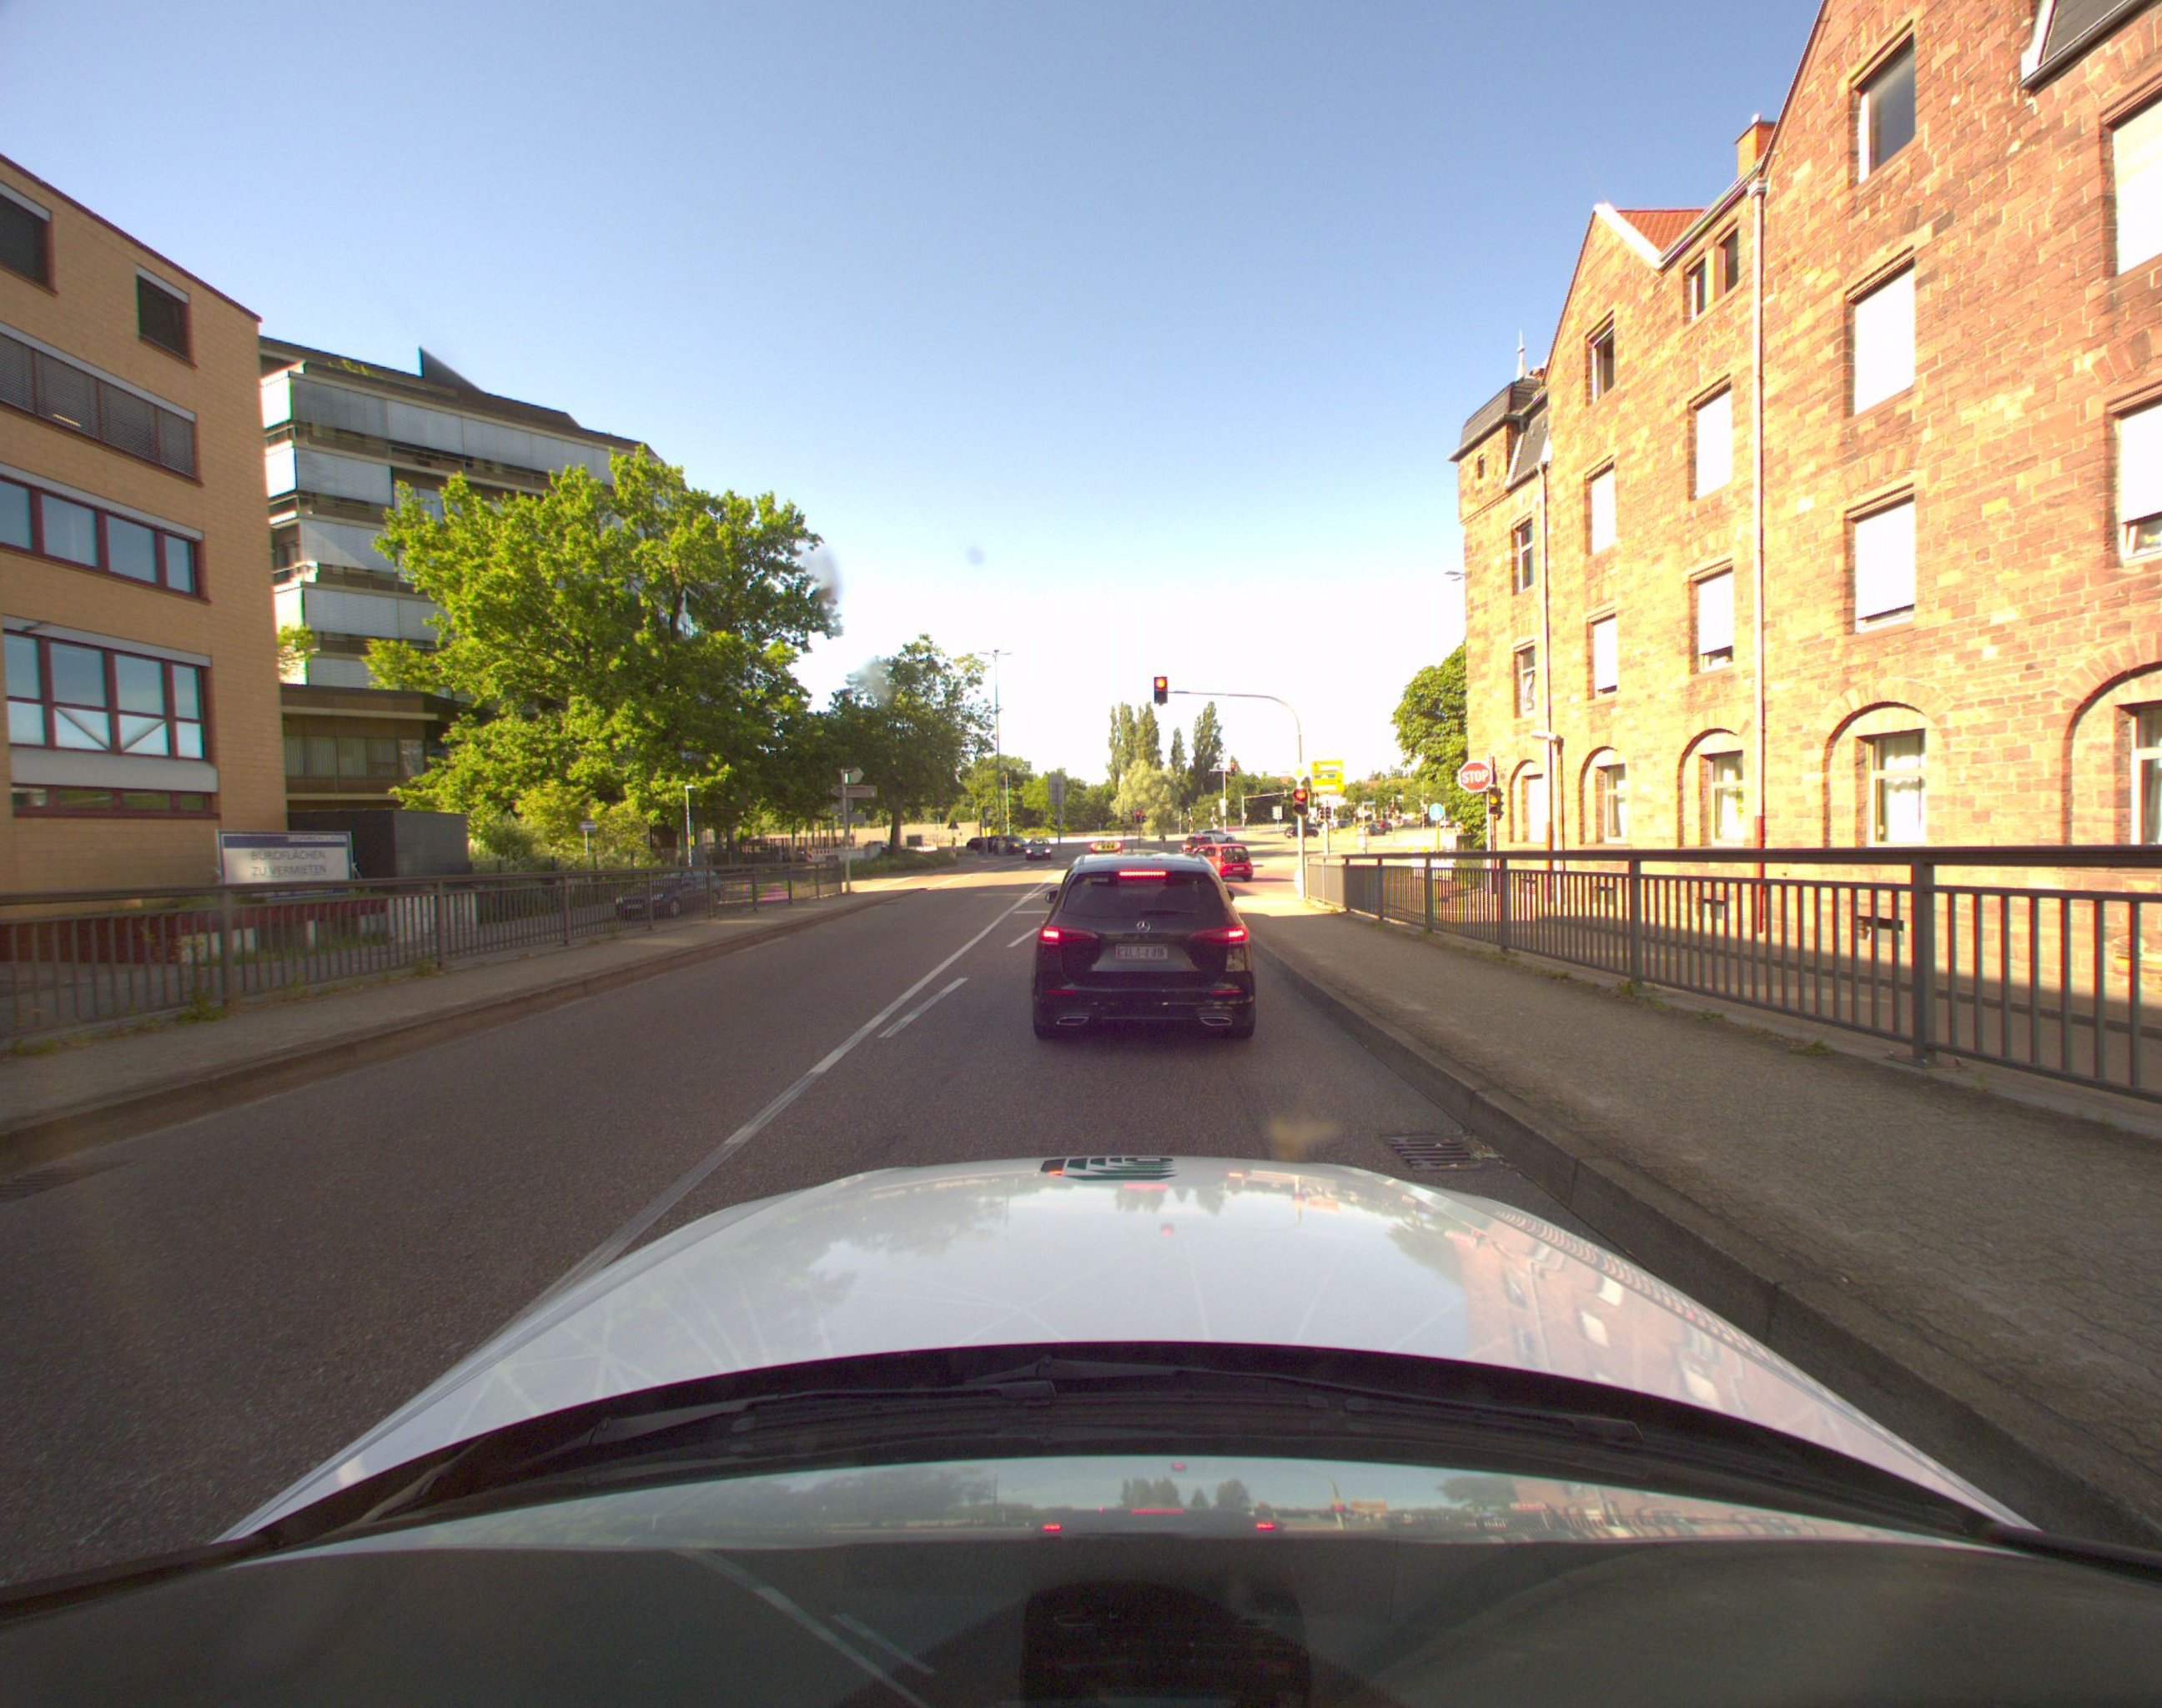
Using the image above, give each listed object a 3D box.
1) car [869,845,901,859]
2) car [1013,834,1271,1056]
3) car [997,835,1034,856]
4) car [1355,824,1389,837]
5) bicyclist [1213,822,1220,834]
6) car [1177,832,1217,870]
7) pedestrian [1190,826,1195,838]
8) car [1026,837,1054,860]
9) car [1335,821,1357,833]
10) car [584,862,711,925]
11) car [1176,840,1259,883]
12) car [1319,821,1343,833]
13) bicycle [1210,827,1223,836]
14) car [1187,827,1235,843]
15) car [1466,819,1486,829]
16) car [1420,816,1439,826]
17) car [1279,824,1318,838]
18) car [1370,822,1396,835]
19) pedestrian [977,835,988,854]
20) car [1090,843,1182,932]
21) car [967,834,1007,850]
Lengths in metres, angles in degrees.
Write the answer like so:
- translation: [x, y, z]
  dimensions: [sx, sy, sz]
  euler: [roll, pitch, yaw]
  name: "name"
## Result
- translation: [-22.469, -0.266, 93.077]
  dimensions: [1.755, 1.498, 3.950]
  euler: [-1, -1, -44]
  name: "car"
- translation: [0.506, 0.647, 7.947]
  dimensions: [1.871, 1.613, 4.002]
  euler: [0, 0, 2]
  name: "car"
- translation: [-5.576, -0.737, 68.962]
  dimensions: [1.814, 1.623, 3.966]
  euler: [-1, 3, -27]
  name: "car"
- translation: [33.146, -2.667, 92.683]
  dimensions: [1.975, 1.294, 4.624]
  euler: [-1, 3, 42]
  name: "car"
- translation: [17.983, -3.436, 108.173]
  dimensions: [0.812, 1.551, 0.521]
  euler: [-4, 1, -44]
  name: "bicyclist"
- translation: [6.145, -0.234, 43.524]
  dimensions: [1.714, 1.811, 4.302]
  euler: [1, 3, 3]
  name: "car"
- translation: [14.777, -2.901, 107.728]
  dimensions: [0.446, 1.585, 0.504]
  euler: [-2, 1, 42]
  name: "pedestrian"
- translation: [-2.806, -0.394, 56.689]
  dimensions: [1.737, 1.407, 4.199]
  euler: [-2, 2, -1]
  name: "car"
- translation: [38.779, -4.006, 119.175]
  dimensions: [1.860, 1.578, 4.026]
  euler: [-1, 2, 38]
  name: "car"
- translation: [-13.946, 1.202, 26.499]
  dimensions: [1.844, 1.692, 4.002]
  euler: [-2, 2, 2]
  name: "car"
- translation: [5.473, 0.248, 33.020]
  dimensions: [1.729, 1.521, 3.461]
  euler: [-3, 3, -22]
  name: "car"
- translation: [35.081, -3.758, 114.102]
  dimensions: [1.860, 1.578, 4.026]
  euler: [-1, 2, 38]
  name: "car"
- translation: [17.994, -3.006, 108.192]
  dimensions: [2.001, 1.050, 0.521]
  euler: [-4, 1, -44]
  name: "bicycle"
- translation: [12.988, -1.955, 81.381]
  dimensions: [4.296, 1.365, 1.996]
  euler: [-3, 2, -7]
  name: "car"
- translation: [64.061, -4.869, 132.000]
  dimensions: [1.974, 1.441, 4.323]
  euler: [-1, 3, 39]
  name: "car"
- translation: [53.098, -5.031, 124.014]
  dimensions: [1.764, 1.357, 4.105]
  euler: [-1, 3, 34]
  name: "car"
- translation: [24.767, -2.619, 92.620]
  dimensions: [4.618, 1.294, 1.865]
  euler: [-5, 3, -39]
  name: "car"
- translation: [39.309, -3.340, 105.879]
  dimensions: [1.974, 1.455, 4.582]
  euler: [-1, 3, 37]
  name: "car"
- translation: [-8.293, -0.788, 68.388]
  dimensions: [0.700, 1.525, 0.746]
  euler: [-1, 1, 12]
  name: "pedestrian"
- translation: [1.141, 0.605, 16.825]
  dimensions: [1.632, 1.529, 3.478]
  euler: [-2, 1, 4]
  name: "car"
- translation: [-10.153, -1.271, 88.006]
  dimensions: [3.948, 1.547, 1.903]
  euler: [-1, -1, 33]
  name: "car"
